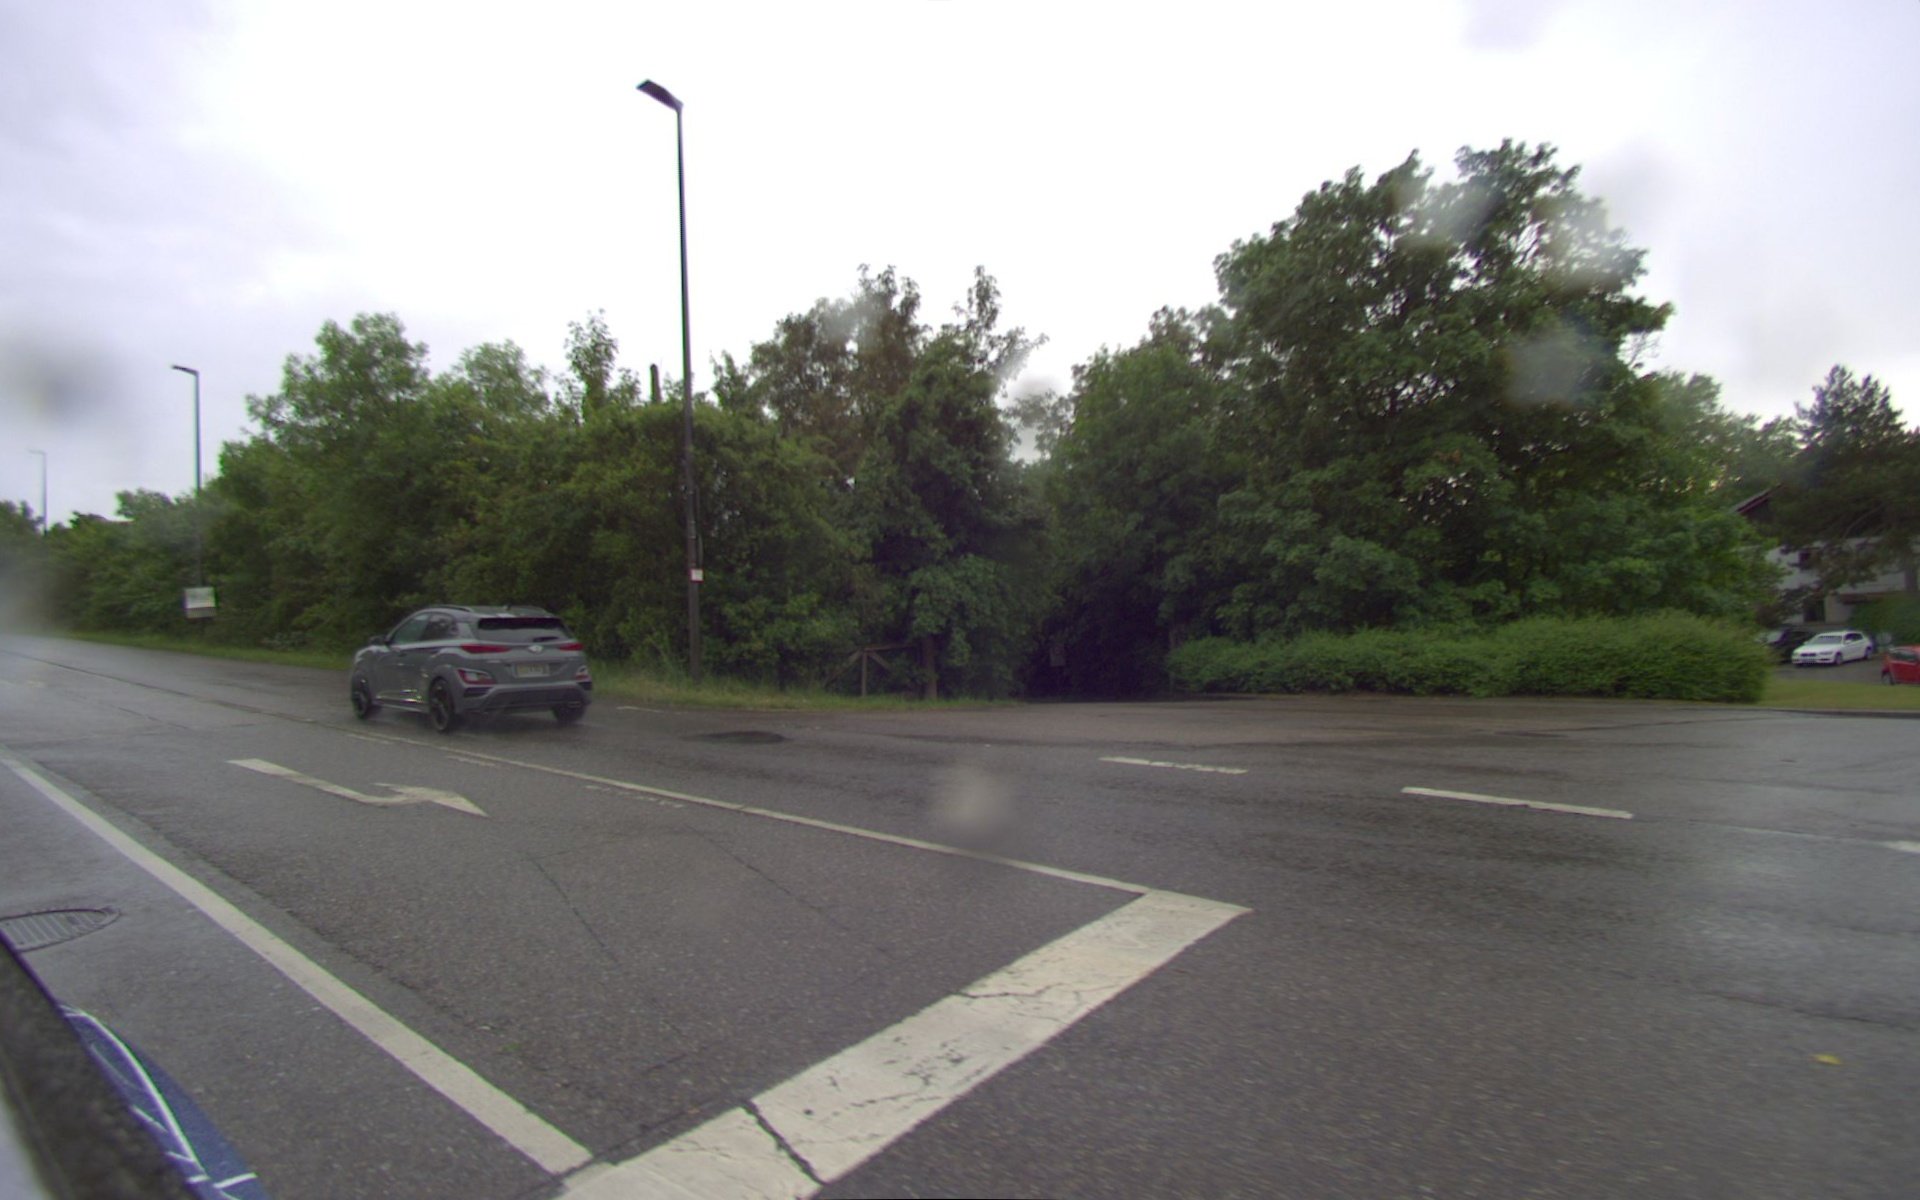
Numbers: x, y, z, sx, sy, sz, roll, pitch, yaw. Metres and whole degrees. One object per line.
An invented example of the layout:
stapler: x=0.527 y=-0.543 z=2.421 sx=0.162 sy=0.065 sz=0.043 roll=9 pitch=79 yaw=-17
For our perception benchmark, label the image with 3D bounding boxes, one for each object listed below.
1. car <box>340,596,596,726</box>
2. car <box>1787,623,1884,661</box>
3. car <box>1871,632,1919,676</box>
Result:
car: x=-6.635 y=0.723 z=13.467 sx=3.998 sy=1.481 sz=1.622 roll=-1 pitch=0 yaw=41
car: x=41.167 y=1.951 z=47.595 sx=3.930 sy=1.597 sz=2.007 roll=0 pitch=0 yaw=-24
car: x=33.642 y=1.899 z=34.888 sx=1.535 sy=1.413 sz=3.984 roll=0 pitch=0 yaw=13
